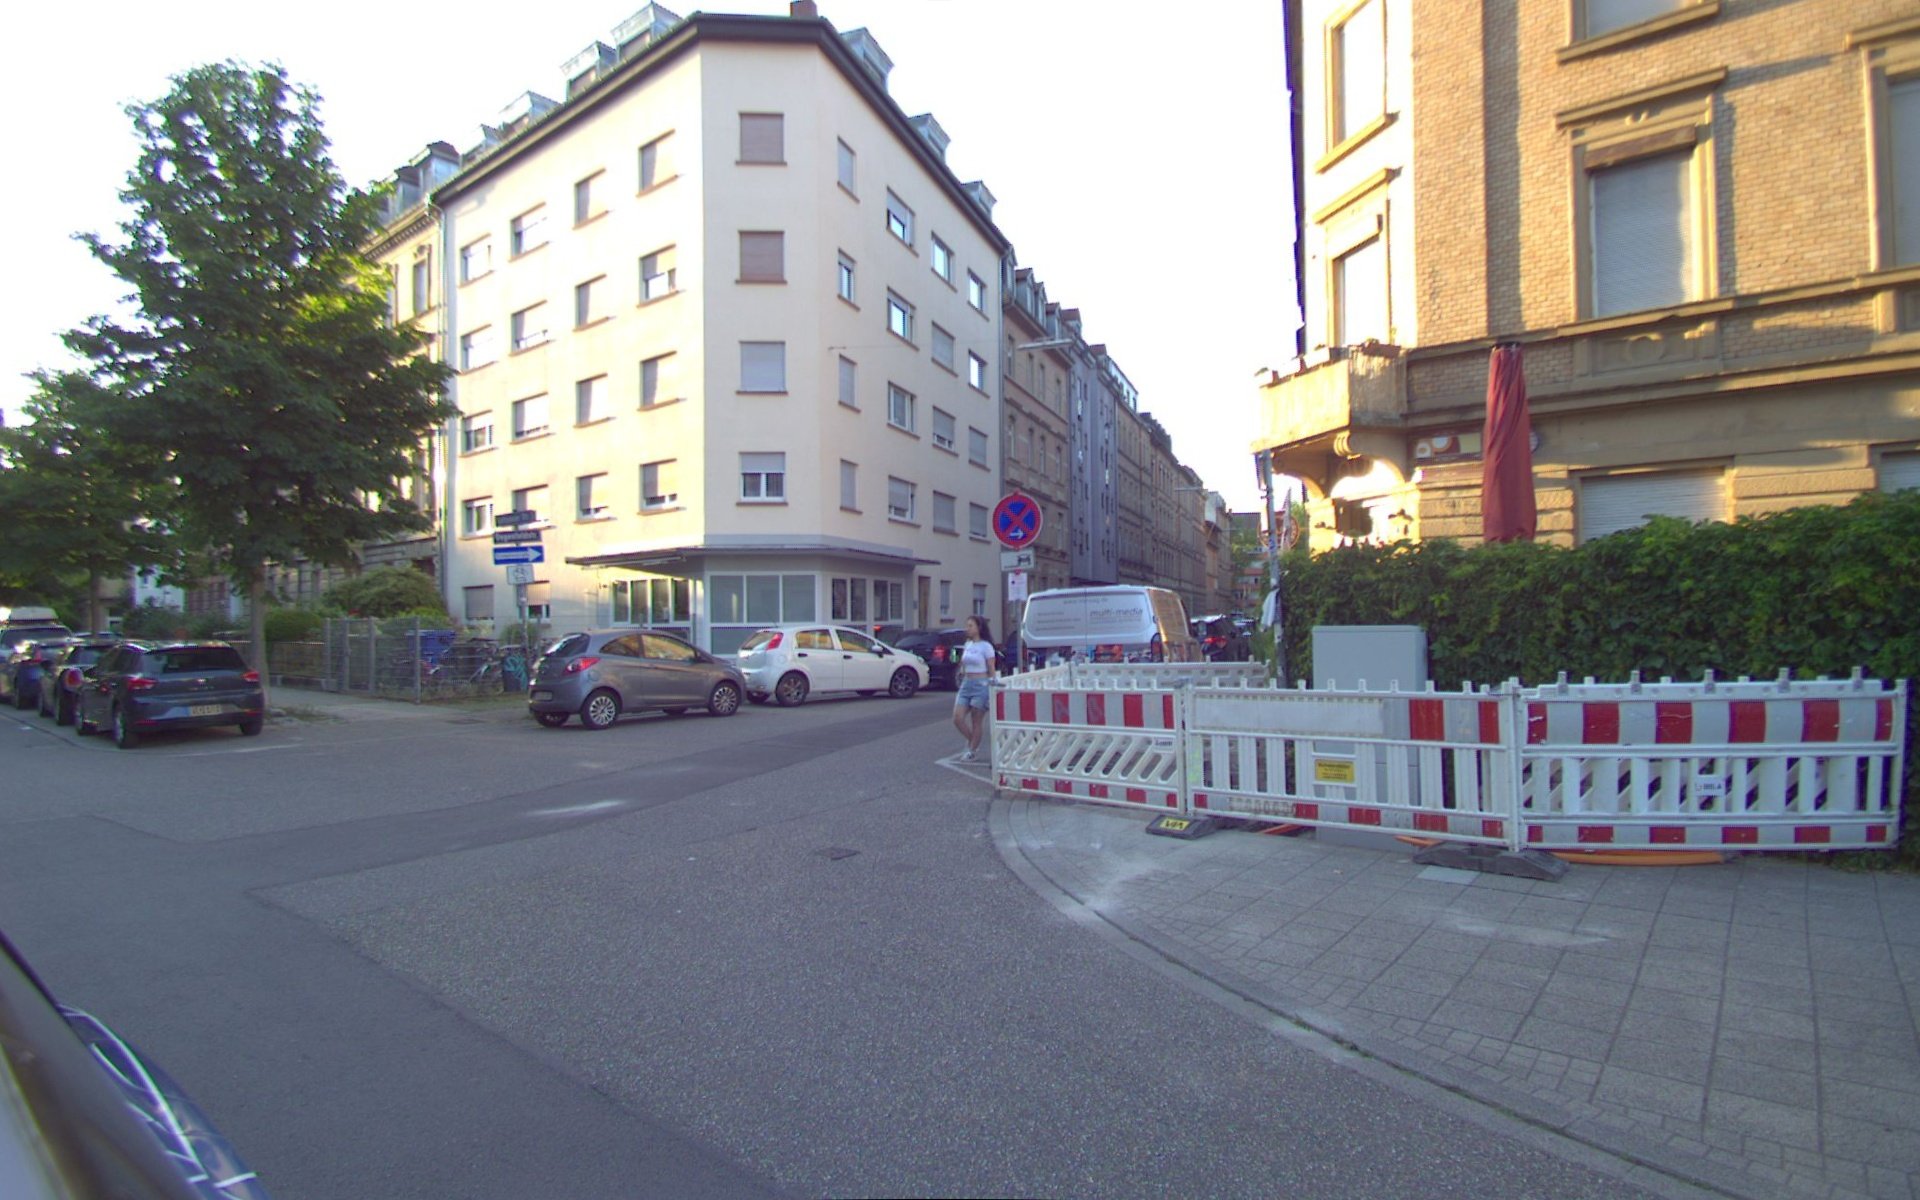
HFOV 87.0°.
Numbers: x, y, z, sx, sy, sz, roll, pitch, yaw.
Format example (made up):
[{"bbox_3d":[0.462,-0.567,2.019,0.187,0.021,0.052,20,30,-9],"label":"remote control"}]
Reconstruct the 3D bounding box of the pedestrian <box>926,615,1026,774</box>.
[{"bbox_3d":[0.178,0.993,11.013,0.711,1.630,0.776,-2,-1,40],"label":"pedestrian"}]

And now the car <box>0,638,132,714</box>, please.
[{"bbox_3d":[-19.852,1.587,22.148,4.586,1.423,1.843,-2,-1,40],"label":"car"}]

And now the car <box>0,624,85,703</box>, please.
[{"bbox_3d":[-23.655,1.543,25.405,4.619,1.792,1.843,-2,-1,40],"label":"car"}]

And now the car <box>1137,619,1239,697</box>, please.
[{"bbox_3d":[5.230,1.255,22.862,2.005,1.583,3.898,-2,-2,16],"label":"car"}]

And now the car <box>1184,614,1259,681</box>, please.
[{"bbox_3d":[7.125,1.248,27.315,1.572,1.635,3.973,-2,-2,20],"label":"car"}]

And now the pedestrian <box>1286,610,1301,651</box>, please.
[{"bbox_3d":[15.076,1.376,45.701,0.589,1.820,0.495,-2,0,18],"label":"pedestrian"}]

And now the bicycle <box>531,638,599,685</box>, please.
[{"bbox_3d":[-10.213,1.579,26.186,0.499,1.100,1.617,-2,0,34],"label":"bicycle"}]

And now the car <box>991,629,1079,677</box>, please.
[{"bbox_3d":[2.432,1.637,31.803,1.860,1.419,3.976,-2,-2,18],"label":"car"}]

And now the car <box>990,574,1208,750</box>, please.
[{"bbox_3d":[2.193,0.787,14.301,2.190,1.990,5.264,-2,-2,17],"label":"car"}]

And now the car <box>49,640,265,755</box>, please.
[{"bbox_3d":[-12.398,1.383,15.517,4.458,1.473,1.658,-2,-1,39],"label":"car"}]

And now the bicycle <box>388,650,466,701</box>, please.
[{"bbox_3d":[-11.549,1.608,21.909,1.927,1.033,0.681,-2,0,35],"label":"bicycle"}]

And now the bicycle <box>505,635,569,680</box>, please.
[{"bbox_3d":[-11.231,1.523,26.892,0.499,1.100,1.531,-2,0,34],"label":"bicycle"}]

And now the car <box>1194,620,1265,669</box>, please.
[{"bbox_3d":[8.685,1.389,32.404,1.830,1.438,3.973,-2,-2,20],"label":"car"}]

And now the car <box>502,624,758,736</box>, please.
[{"bbox_3d":[-5.245,1.209,16.364,1.843,1.519,3.471,-3,-2,40],"label":"car"}]

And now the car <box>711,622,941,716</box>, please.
[{"bbox_3d":[-2.596,1.267,19.977,4.007,1.520,1.978,-2,0,-37],"label":"car"}]

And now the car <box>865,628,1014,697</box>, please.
[{"bbox_3d":[-0.374,1.411,23.764,1.986,1.450,4.046,-2,-2,24],"label":"car"}]

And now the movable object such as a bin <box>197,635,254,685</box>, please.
[{"bbox_3d":[-21.772,1.756,29.999,1.549,1.398,0.937,-2,0,37],"label":"movable object such as a bin"}]

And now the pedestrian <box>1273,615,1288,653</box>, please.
[{"bbox_3d":[14.511,1.534,45.869,0.589,1.699,0.495,-2,0,18],"label":"pedestrian"}]

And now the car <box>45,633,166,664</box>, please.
[{"bbox_3d":[-41.851,2.348,49.620,1.625,1.351,4.356,-2,-1,41],"label":"car"}]

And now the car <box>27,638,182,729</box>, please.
[{"bbox_3d":[-15.949,1.458,18.786,4.142,1.431,1.723,-2,-1,43],"label":"car"}]

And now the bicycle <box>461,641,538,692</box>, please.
[{"bbox_3d":[-10.556,1.520,23.211,1.528,1.100,0.500,-2,0,3],"label":"bicycle"}]

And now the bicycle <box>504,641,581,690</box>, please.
[{"bbox_3d":[-9.956,1.564,24.142,1.689,1.100,0.384,-2,0,4],"label":"bicycle"}]

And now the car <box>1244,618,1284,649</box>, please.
[{"bbox_3d":[16.281,1.797,54.159,1.875,1.569,3.975,-2,-2,19],"label":"car"}]

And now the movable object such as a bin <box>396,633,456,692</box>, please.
[{"bbox_3d":[-13.031,1.501,24.680,1.398,1.362,0.857,-2,0,42],"label":"movable object such as a bin"}]

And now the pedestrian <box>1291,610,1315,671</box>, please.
[{"bbox_3d":[9.763,1.141,28.782,0.589,1.699,0.495,-2,0,18],"label":"pedestrian"}]

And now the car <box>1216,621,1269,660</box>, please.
[{"bbox_3d":[11.518,1.627,41.111,1.774,1.470,3.973,-2,-2,20],"label":"car"}]

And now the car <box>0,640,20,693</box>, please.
[{"bbox_3d":[-28.500,1.899,29.023,4.020,1.452,1.711,-2,-1,39],"label":"car"}]

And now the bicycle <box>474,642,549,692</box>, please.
[{"bbox_3d":[-10.516,1.563,23.728,1.528,1.100,0.500,-2,0,3],"label":"bicycle"}]
